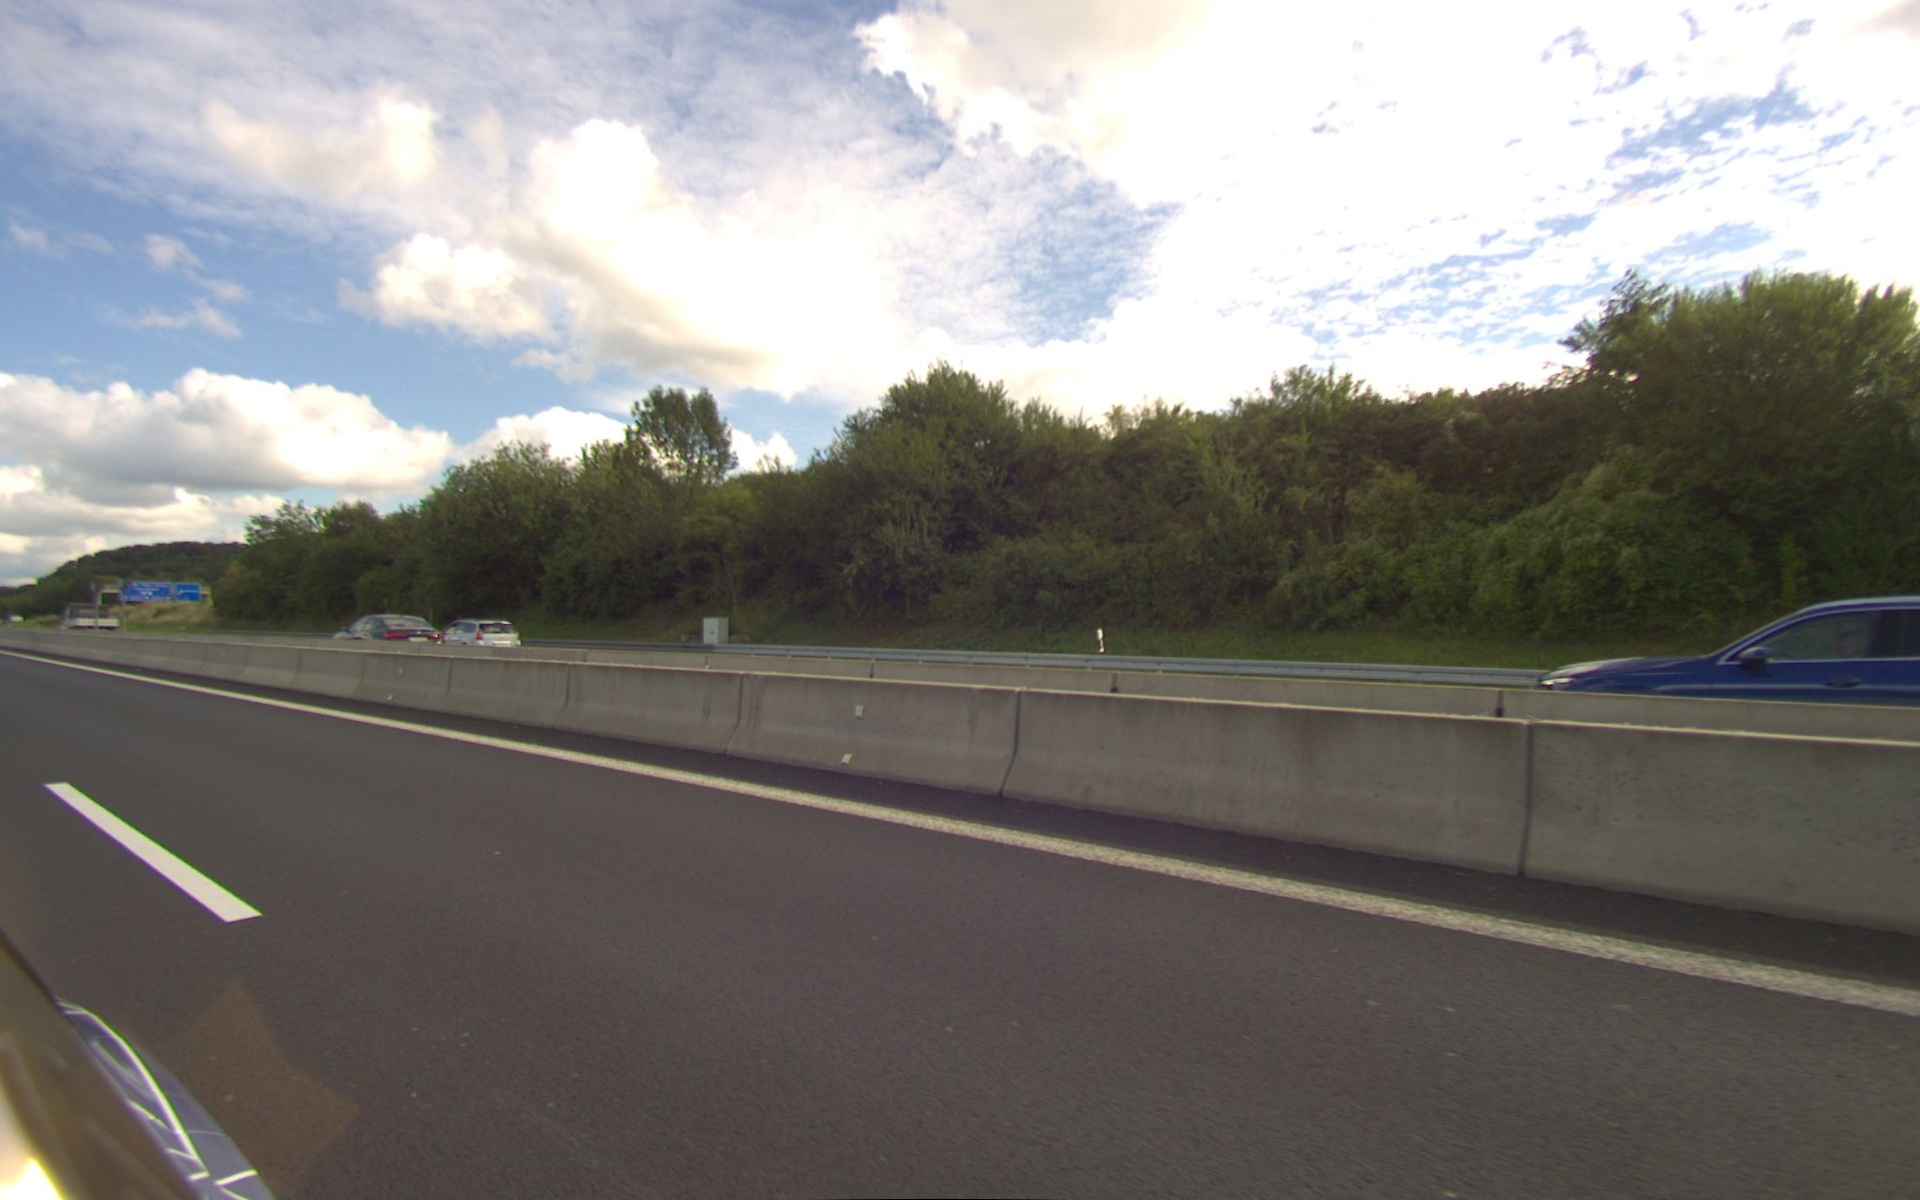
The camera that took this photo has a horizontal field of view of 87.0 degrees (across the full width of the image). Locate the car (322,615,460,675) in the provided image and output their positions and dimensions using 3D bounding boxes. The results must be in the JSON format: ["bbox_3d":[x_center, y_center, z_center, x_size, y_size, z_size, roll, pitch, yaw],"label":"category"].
[{"bbox_3d":[-17.201,1.301,30.471,5.193,1.661,1.973,-1,-3,41],"label":"car"}]

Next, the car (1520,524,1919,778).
[{"bbox_3d":[7.786,0.418,8.459,5.138,1.911,1.973,-1,-3,41],"label":"car"}]

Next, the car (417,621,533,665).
[{"bbox_3d":[-17.168,1.501,35.706,4.722,1.447,1.973,-1,-3,41],"label":"car"}]

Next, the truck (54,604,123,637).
[{"bbox_3d":[-56.144,1.322,65.144,7.433,2.029,2.351,-1,-3,41],"label":"truck"}]
